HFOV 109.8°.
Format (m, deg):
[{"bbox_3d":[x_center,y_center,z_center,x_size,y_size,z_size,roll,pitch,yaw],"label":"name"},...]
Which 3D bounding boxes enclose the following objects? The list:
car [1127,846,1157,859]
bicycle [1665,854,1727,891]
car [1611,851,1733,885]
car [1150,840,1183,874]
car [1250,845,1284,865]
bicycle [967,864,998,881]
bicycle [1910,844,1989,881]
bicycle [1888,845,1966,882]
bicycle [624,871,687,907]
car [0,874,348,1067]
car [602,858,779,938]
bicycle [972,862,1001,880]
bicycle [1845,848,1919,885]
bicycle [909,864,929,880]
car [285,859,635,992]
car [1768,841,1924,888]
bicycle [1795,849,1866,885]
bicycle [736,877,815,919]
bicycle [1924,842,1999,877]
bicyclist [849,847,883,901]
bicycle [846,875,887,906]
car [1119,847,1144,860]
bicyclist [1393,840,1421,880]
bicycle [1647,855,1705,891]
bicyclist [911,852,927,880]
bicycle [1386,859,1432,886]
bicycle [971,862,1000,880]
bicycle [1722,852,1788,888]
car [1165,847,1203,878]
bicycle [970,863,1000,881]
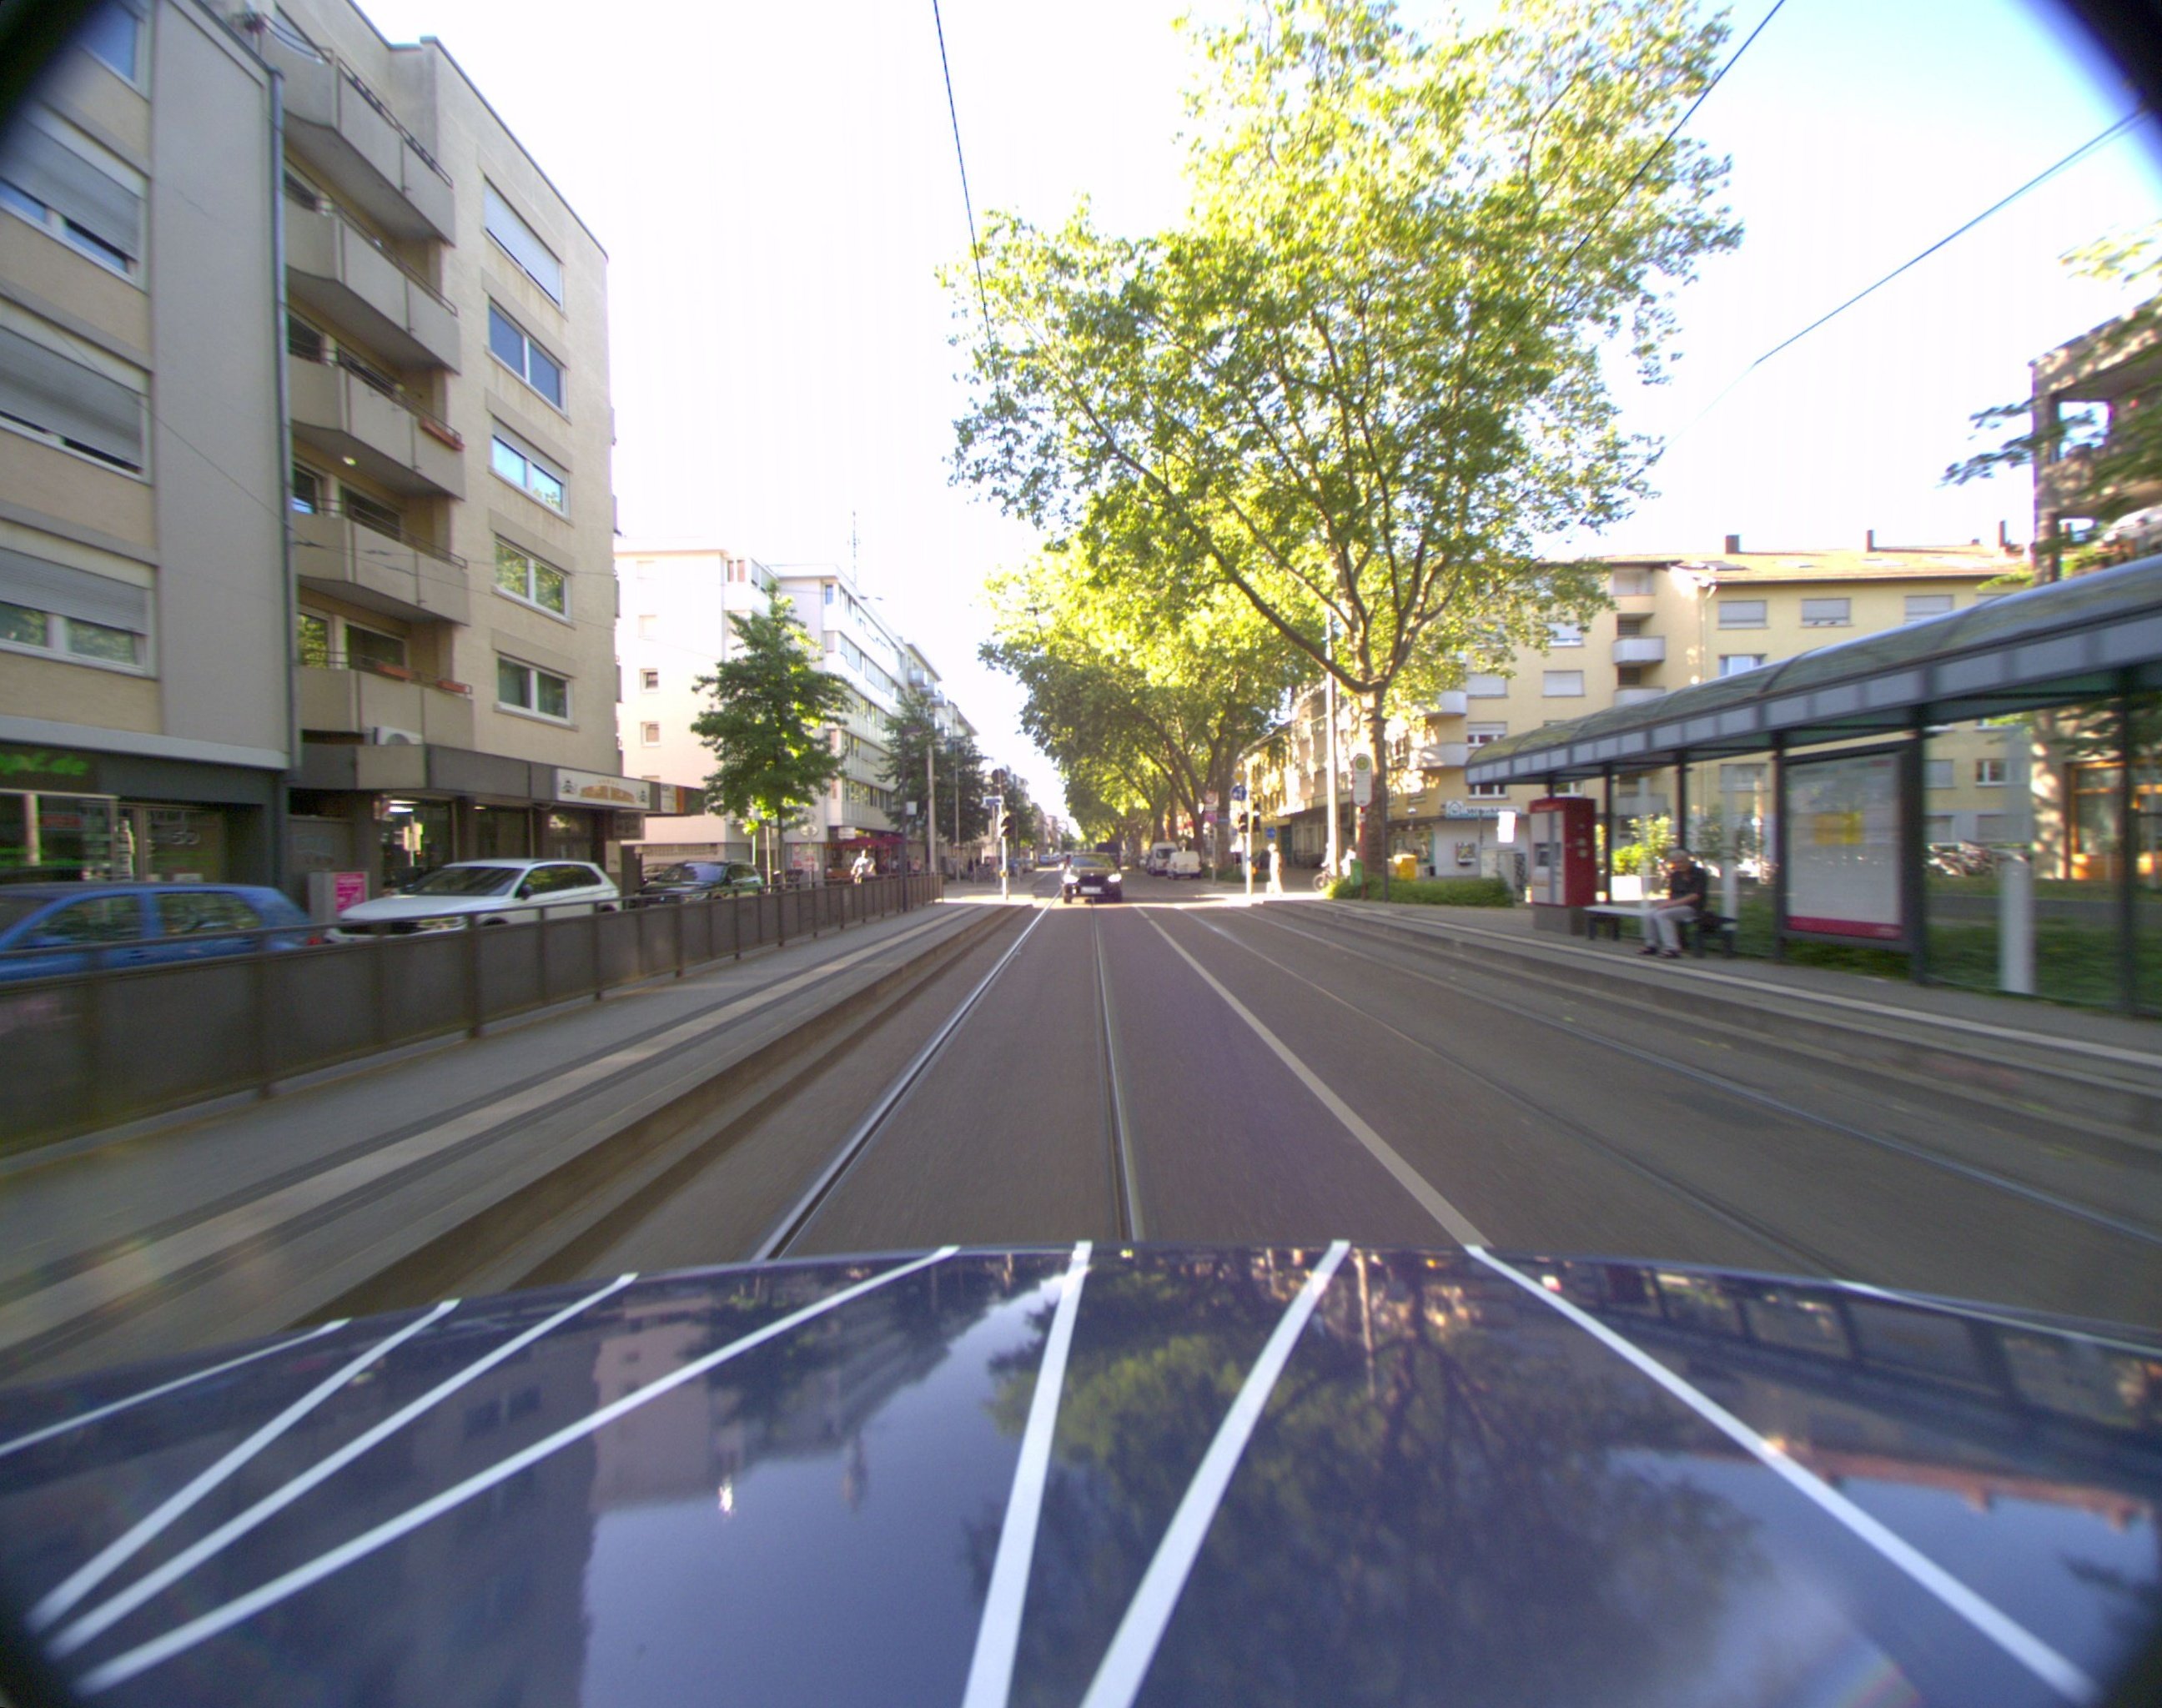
[{"bbox_3d":[10.947,-0.268,136.074,5.135,1.984,1.999,-2,1,-4],"label":"car"},{"bbox_3d":[19.204,0.586,23.759,0.543,1.077,1.639,-2,-2,-1],"label":"bicycle"},{"bbox_3d":[26.820,0.621,34.587,3.997,1.368,2.000,-2,1,0],"label":"car"},{"bbox_3d":[6.752,0.189,60.768,2.113,2.562,6.024,-2,1,3],"label":"car"},{"bbox_3d":[17.343,0.042,71.049,1.998,1.723,4.897,-2,1,1],"label":"car"},{"bbox_3d":[-6.165,1.173,47.506,1.820,0.988,0.481,-2,1,-2],"label":"bicycle"},{"bbox_3d":[26.730,0.251,23.433,0.543,1.078,1.638,-2,1,-1],"label":"bicycle"},{"bbox_3d":[26.003,0.274,23.389,0.543,1.078,1.638,-2,1,-1],"label":"bicycle"},{"bbox_3d":[-15.466,1.272,27.638,1.919,1.201,0.511,-2,2,-3],"label":"bicycle"},{"bbox_3d":[-9.490,0.998,6.744,1.748,1.432,4.246,-2,1,1],"label":"car"},{"bbox_3d":[-9.462,0.979,18.927,1.998,1.606,4.444,-2,1,1],"label":"car"},{"bbox_3d":[-6.204,1.119,49.934,1.820,1.094,0.525,-1,1,0],"label":"bicycle"},{"bbox_3d":[24.661,0.352,23.429,0.543,1.078,1.638,-2,1,-1],"label":"bicycle"},{"bbox_3d":[-10.167,1.115,47.732,0.678,0.957,2.022,-2,1,3],"label":"bicycle"},{"bbox_3d":[-9.338,0.944,12.043,1.804,1.596,4.414,-2,1,1],"label":"car"},{"bbox_3d":[29.025,0.370,28.915,3.997,1.652,1.960,-1,1,0],"label":"car"},{"bbox_3d":[23.224,0.400,23.588,0.543,1.078,1.639,-1,0,-1],"label":"bicycle"},{"bbox_3d":[-9.209,1.322,22.938,2.130,1.181,0.681,-2,1,9],"label":"bicycle"},{"bbox_3d":[28.774,0.175,24.862,0.543,1.078,1.638,-2,1,-1],"label":"bicycle"},{"bbox_3d":[-7.399,0.667,26.179,0.769,1.821,1.099,-2,1,1],"label":"bicyclist"},{"bbox_3d":[-7.379,1.243,26.203,0.790,0.932,1.939,-2,1,1],"label":"bicycle"},{"bbox_3d":[9.547,-0.179,144.679,4.661,2.293,2.000,-2,1,1],"label":"car"},{"bbox_3d":[14.509,0.262,33.809,0.776,1.740,0.997,-2,1,-2],"label":"bicyclist"},{"bbox_3d":[18.576,0.608,23.759,0.543,1.077,1.537,-2,-2,-1],"label":"bicycle"},{"bbox_3d":[-10.186,0.768,47.813,0.678,1.707,0.965,-2,1,3],"label":"bicyclist"},{"bbox_3d":[14.536,0.810,33.757,0.784,1.104,2.595,-2,1,-2],"label":"bicycle"},{"bbox_3d":[-6.180,1.117,49.152,1.821,1.094,0.481,-2,1,-8],"label":"bicycle"},{"bbox_3d":[20.898,0.501,23.596,0.543,1.077,1.639,-2,-1,-1],"label":"bicycle"},{"bbox_3d":[6.710,0.505,49.821,1.768,1.840,4.317,-2,1,-1],"label":"car"},{"bbox_3d":[-6.094,1.130,48.266,1.821,1.094,0.497,-2,1,-8],"label":"bicycle"}]
